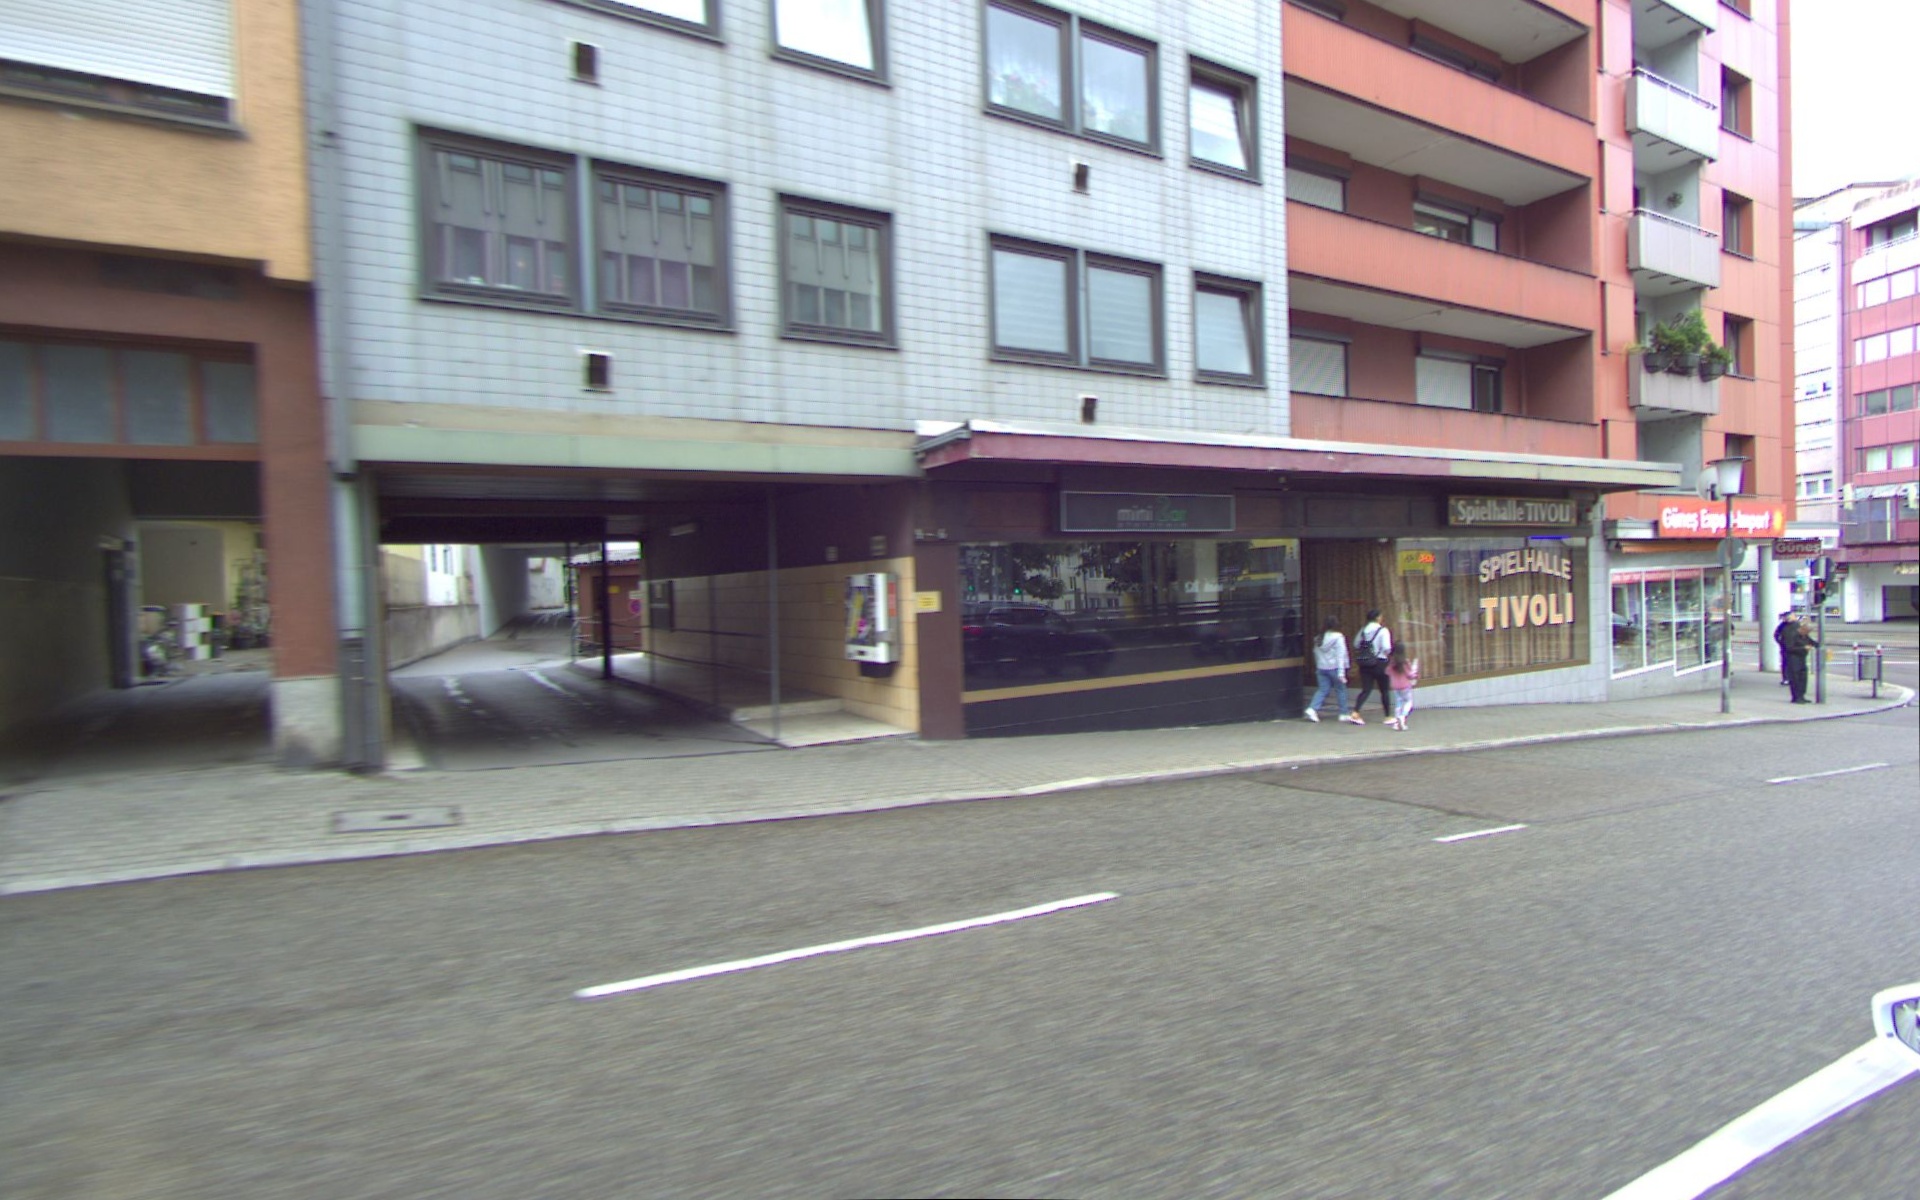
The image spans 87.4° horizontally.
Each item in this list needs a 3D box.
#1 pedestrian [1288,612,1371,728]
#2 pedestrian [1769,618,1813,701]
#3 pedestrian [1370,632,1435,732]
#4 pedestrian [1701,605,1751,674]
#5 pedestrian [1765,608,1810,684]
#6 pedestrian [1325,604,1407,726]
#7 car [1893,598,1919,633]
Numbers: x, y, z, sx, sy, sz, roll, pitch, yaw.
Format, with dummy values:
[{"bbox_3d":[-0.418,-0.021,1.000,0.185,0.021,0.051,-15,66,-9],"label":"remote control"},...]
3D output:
[{"bbox_3d":[5.343,0.980,14.525,0.717,1.582,0.820,1,2,-39],"label":"pedestrian"},{"bbox_3d":[17.664,1.256,21.356,0.617,1.720,0.550,1,0,-34],"label":"pedestrian"},{"bbox_3d":[6.243,1.138,14.171,0.717,1.341,0.529,1,2,-40],"label":"pedestrian"},{"bbox_3d":[21.191,1.081,27.799,0.813,1.856,0.724,1,0,4],"label":"pedestrian"},{"bbox_3d":[20.907,1.145,25.380,0.838,1.873,0.753,1,0,-42],"label":"pedestrian"},{"bbox_3d":[5.993,0.932,14.851,0.717,1.712,0.820,1,2,-39],"label":"pedestrian"},{"bbox_3d":[43.530,0.775,43.418,1.893,1.535,4.661,3,1,-2],"label":"car"}]
